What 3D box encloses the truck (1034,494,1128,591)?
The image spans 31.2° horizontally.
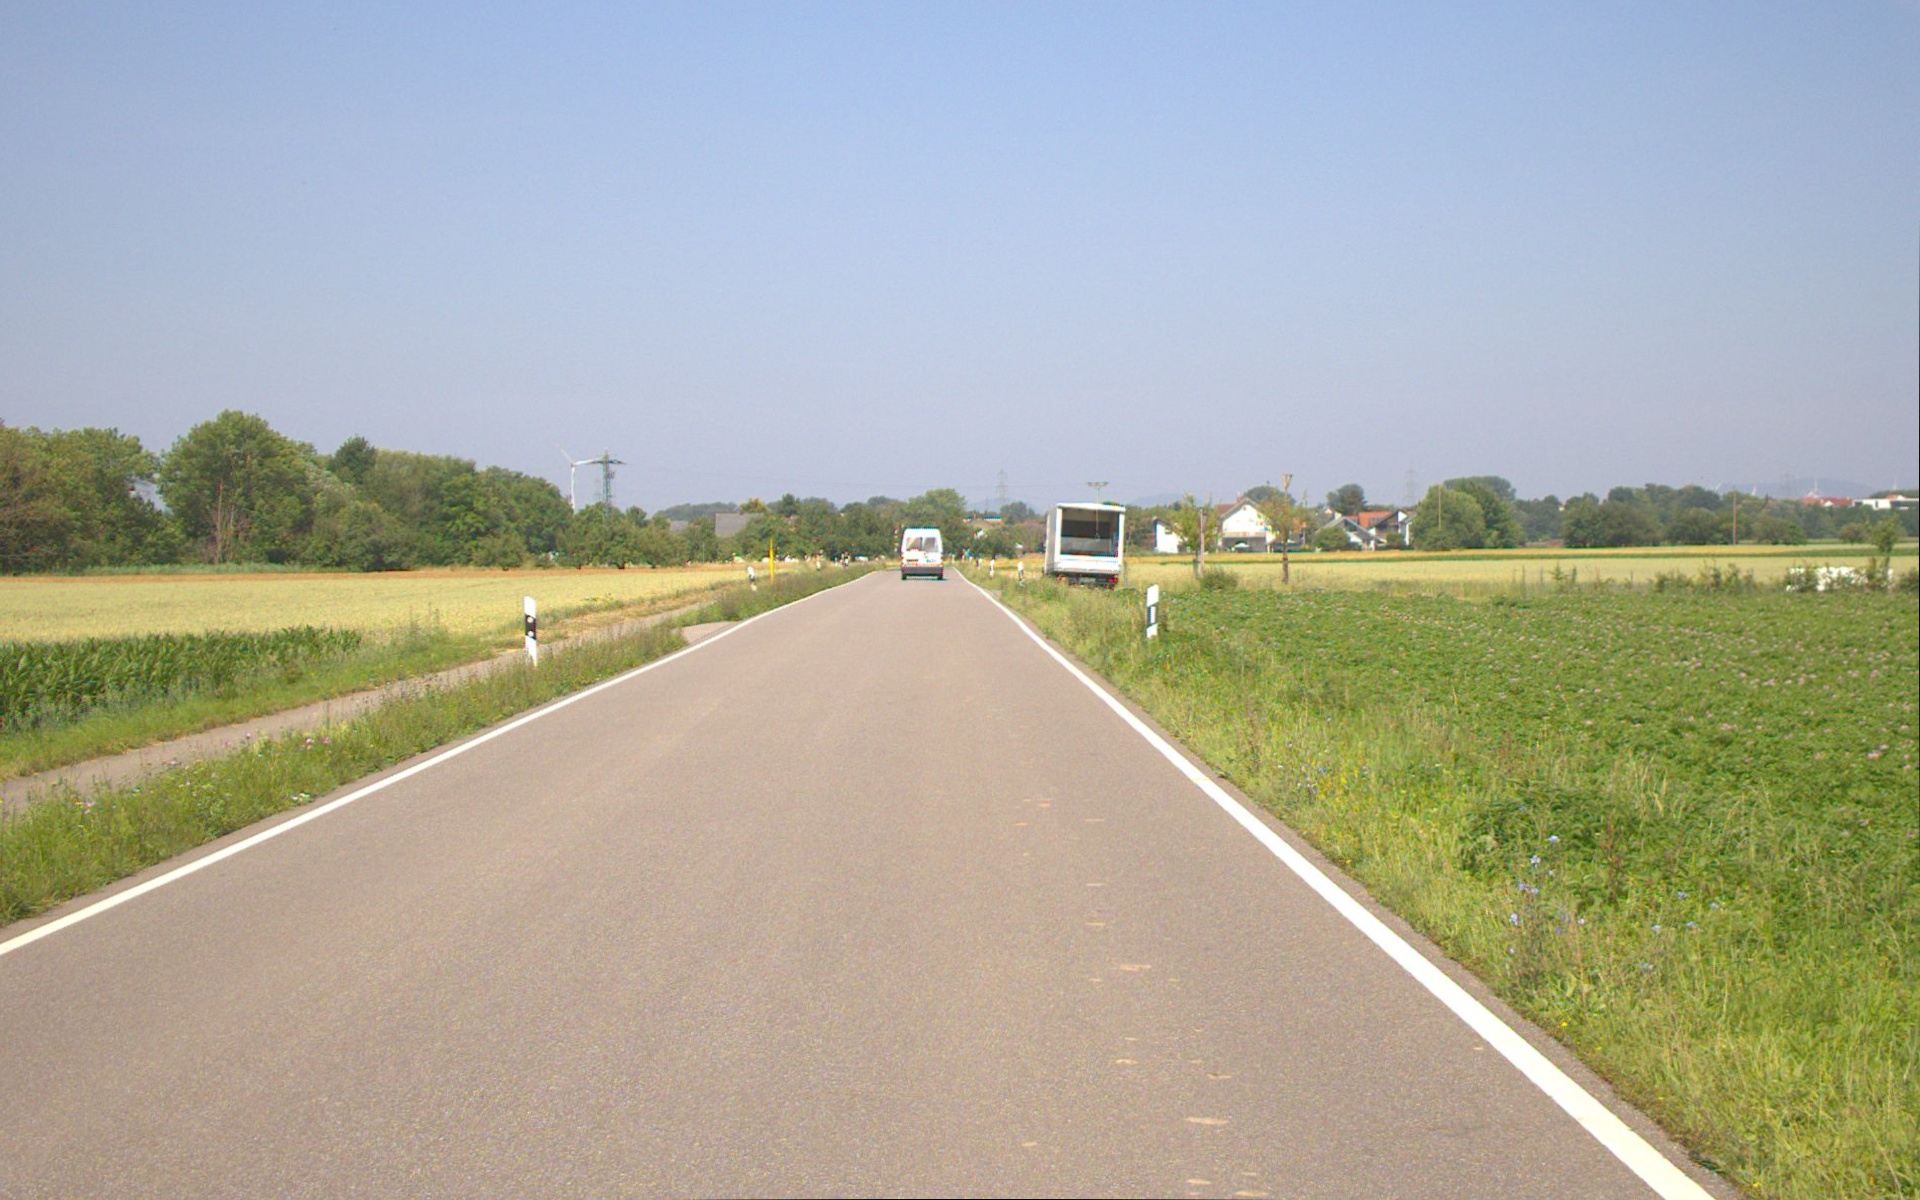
[{"bbox_3d":[3.835,-1.828,110.246,2.335,2.932,7.009,3,1,-2],"label":"truck"}]

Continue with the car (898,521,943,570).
[{"bbox_3d":[-1.926,-2.631,167.093,2.107,2.296,5.496,1,1,-1],"label":"car"}]

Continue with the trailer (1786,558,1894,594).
[{"bbox_3d":[30.971,-0.860,121.030,3.587,1.185,1.663,1,1,12],"label":"trailer"}]
